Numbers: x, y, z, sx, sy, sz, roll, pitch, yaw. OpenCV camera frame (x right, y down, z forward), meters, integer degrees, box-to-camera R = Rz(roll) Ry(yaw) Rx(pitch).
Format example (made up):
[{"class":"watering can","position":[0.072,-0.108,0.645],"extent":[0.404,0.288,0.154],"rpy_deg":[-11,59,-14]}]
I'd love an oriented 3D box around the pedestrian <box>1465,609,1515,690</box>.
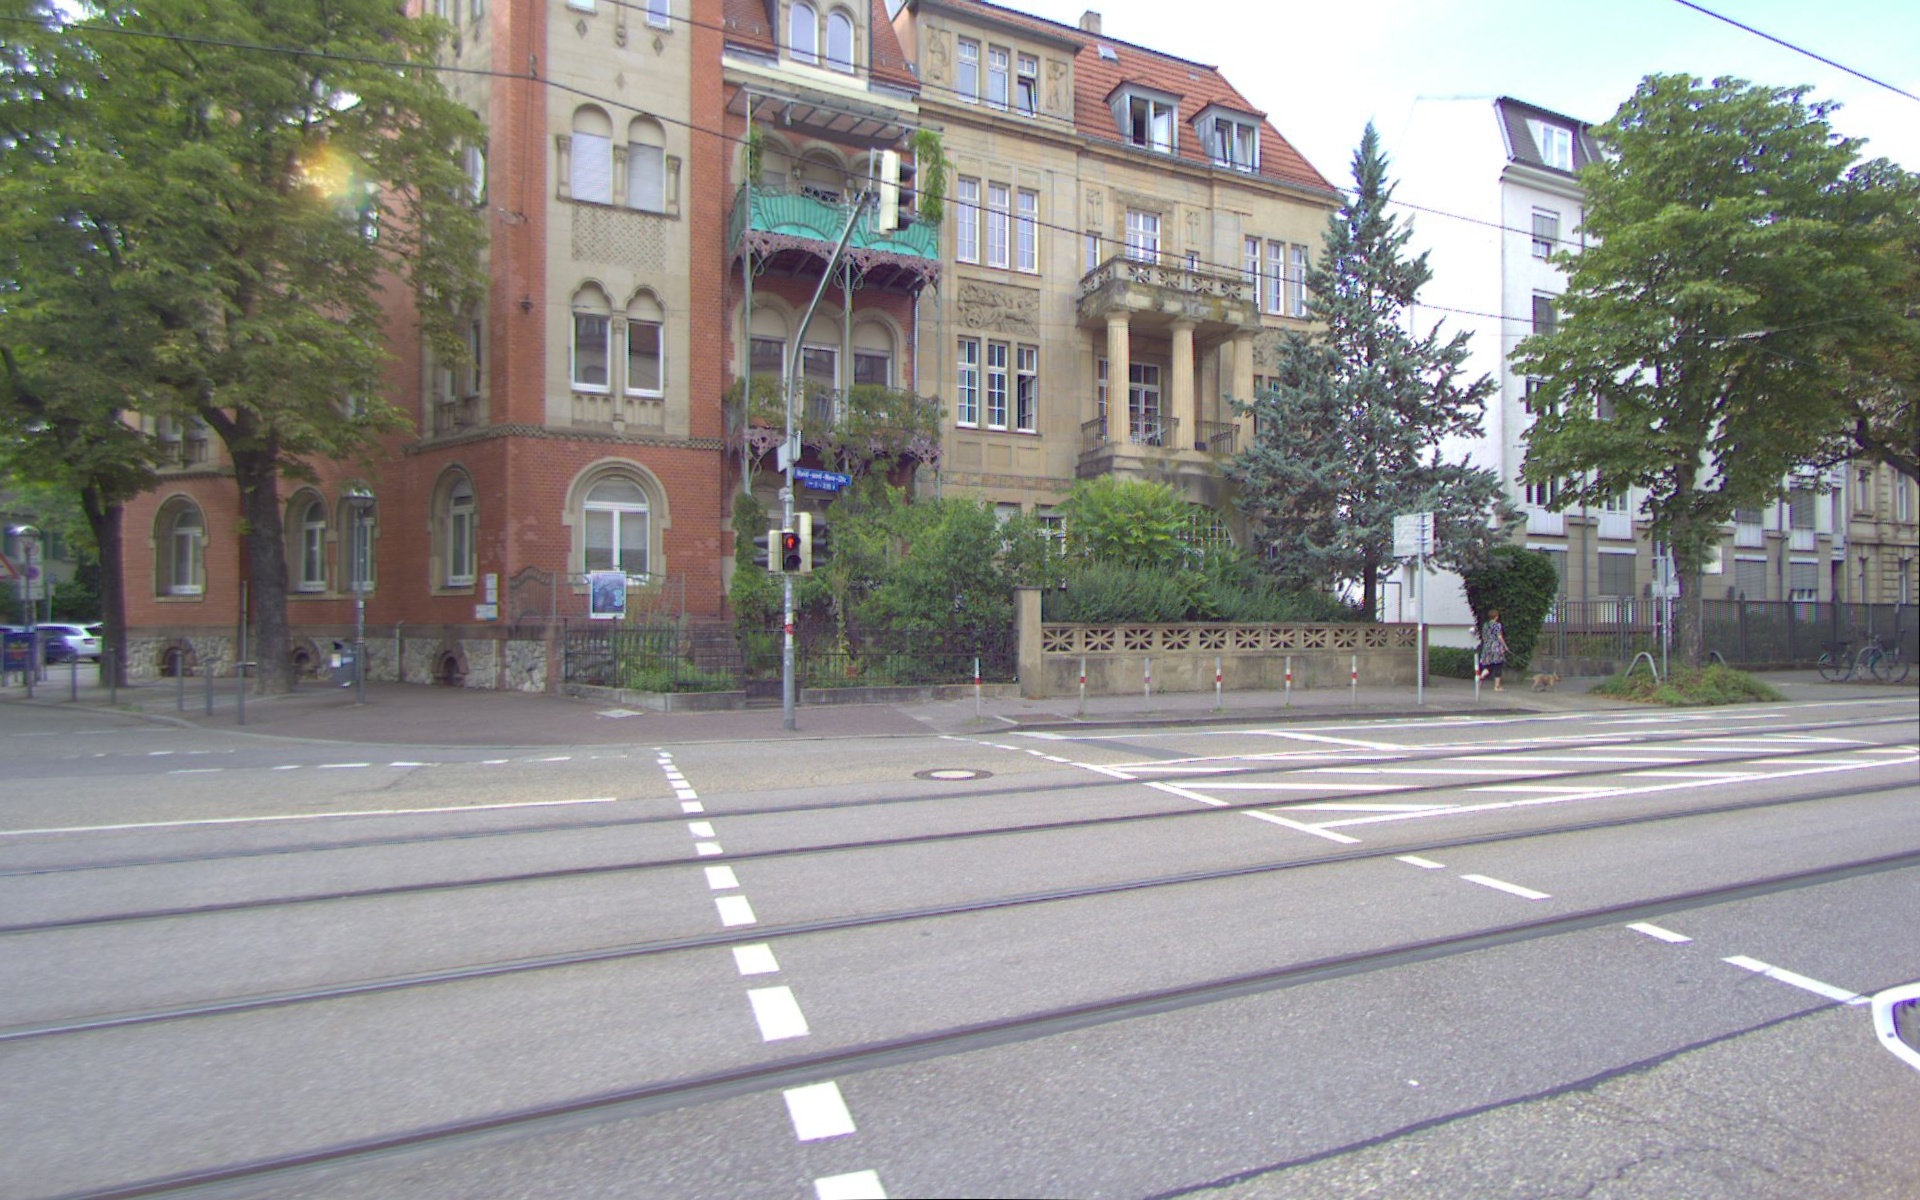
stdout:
[{"class":"pedestrian","position":[11.667,1.072,22.126],"extent":[0.692,1.759,0.702],"rpy_deg":[0,0,-29]}]

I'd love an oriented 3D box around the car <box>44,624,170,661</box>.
[{"class":"car","position":[-34.306,1.669,40.528],"extent":[1.670,1.423,4.000],"rpy_deg":[0,-1,0]}]

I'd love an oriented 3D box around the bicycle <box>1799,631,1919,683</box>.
[{"class":"bicycle","position":[22.401,1.389,25.033],"extent":[2.198,1.191,0.833],"rpy_deg":[0,0,33]}]

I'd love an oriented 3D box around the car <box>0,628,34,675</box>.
[{"class":"car","position":[-29.965,1.548,29.464],"extent":[1.670,1.423,4.311],"rpy_deg":[0,-1,-2]}]
